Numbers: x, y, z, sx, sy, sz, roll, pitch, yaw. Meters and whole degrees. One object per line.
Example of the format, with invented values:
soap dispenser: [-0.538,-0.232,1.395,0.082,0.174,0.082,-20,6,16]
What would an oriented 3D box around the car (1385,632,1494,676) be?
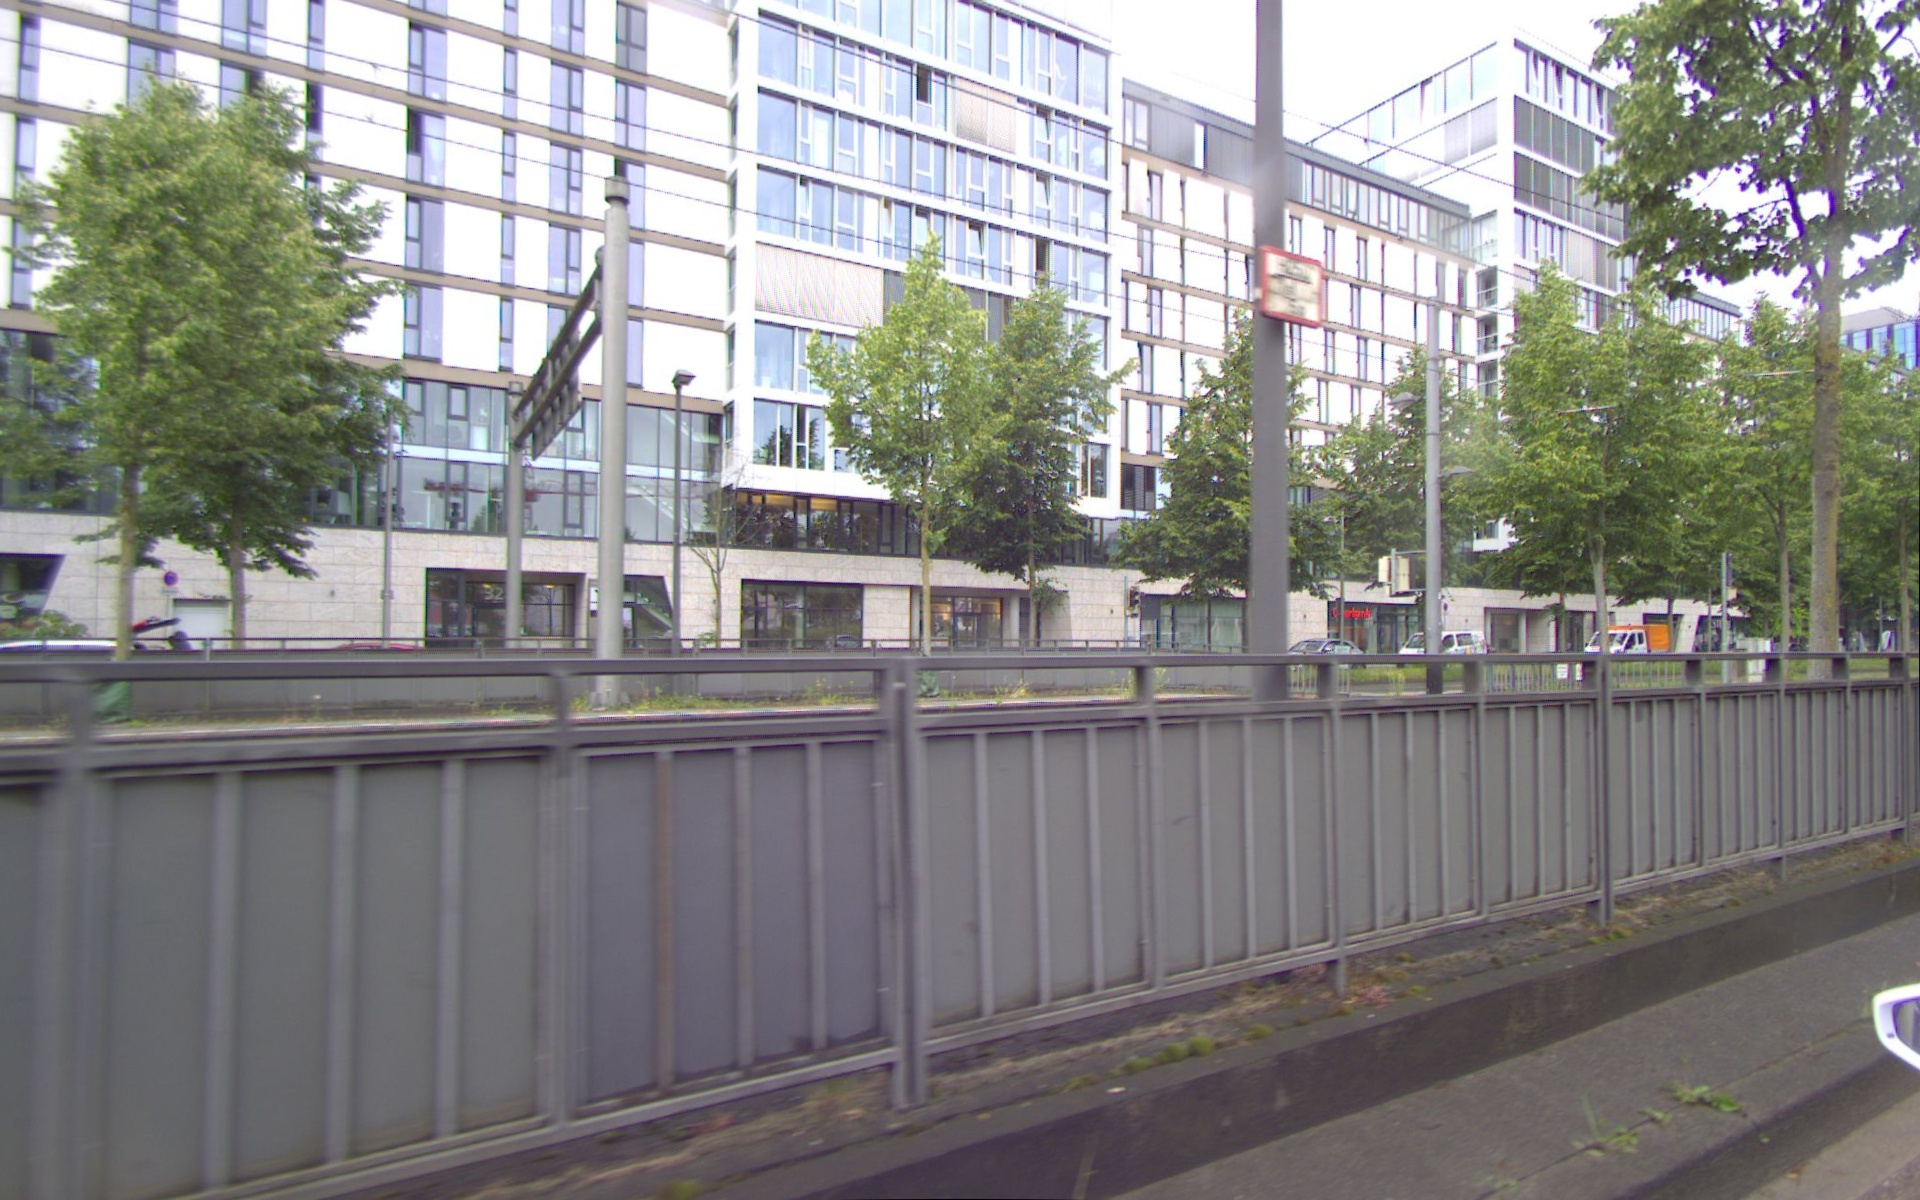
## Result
car: [21.826,2.426,45.670,5.105,1.876,1.984,2,-2,-31]

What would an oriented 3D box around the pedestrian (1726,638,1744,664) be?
pedestrian: [62.367,4.099,80.824,0.843,2.007,0.793,1,-1,-22]

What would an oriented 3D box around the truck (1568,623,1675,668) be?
truck: [36.015,2.446,54.639,6.236,2.322,2.415,2,-2,-31]

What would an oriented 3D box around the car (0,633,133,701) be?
car: [-19.402,1.320,20.110,4.020,1.305,1.985,2,-2,-29]

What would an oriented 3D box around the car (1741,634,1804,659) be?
car: [51.096,2.891,63.179,3.943,1.484,1.845,1,-1,-31]

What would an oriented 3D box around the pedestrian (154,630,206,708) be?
pedestrian: [-17.672,1.551,22.774,0.782,1.714,0.708,1,-1,-27]

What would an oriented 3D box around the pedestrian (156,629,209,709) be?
pedestrian: [-17.151,1.500,22.181,0.782,1.714,0.708,1,-1,-27]

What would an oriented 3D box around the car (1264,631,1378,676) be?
car: [14.832,2.164,41.237,4.412,1.735,2.134,2,-2,-31]

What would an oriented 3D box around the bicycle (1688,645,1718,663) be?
bicycle: [40.327,2.923,54.489,1.734,0.957,0.597,1,-2,-27]

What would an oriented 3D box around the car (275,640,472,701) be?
car: [-13.648,1.610,23.615,3.813,1.305,1.985,2,-2,-29]
